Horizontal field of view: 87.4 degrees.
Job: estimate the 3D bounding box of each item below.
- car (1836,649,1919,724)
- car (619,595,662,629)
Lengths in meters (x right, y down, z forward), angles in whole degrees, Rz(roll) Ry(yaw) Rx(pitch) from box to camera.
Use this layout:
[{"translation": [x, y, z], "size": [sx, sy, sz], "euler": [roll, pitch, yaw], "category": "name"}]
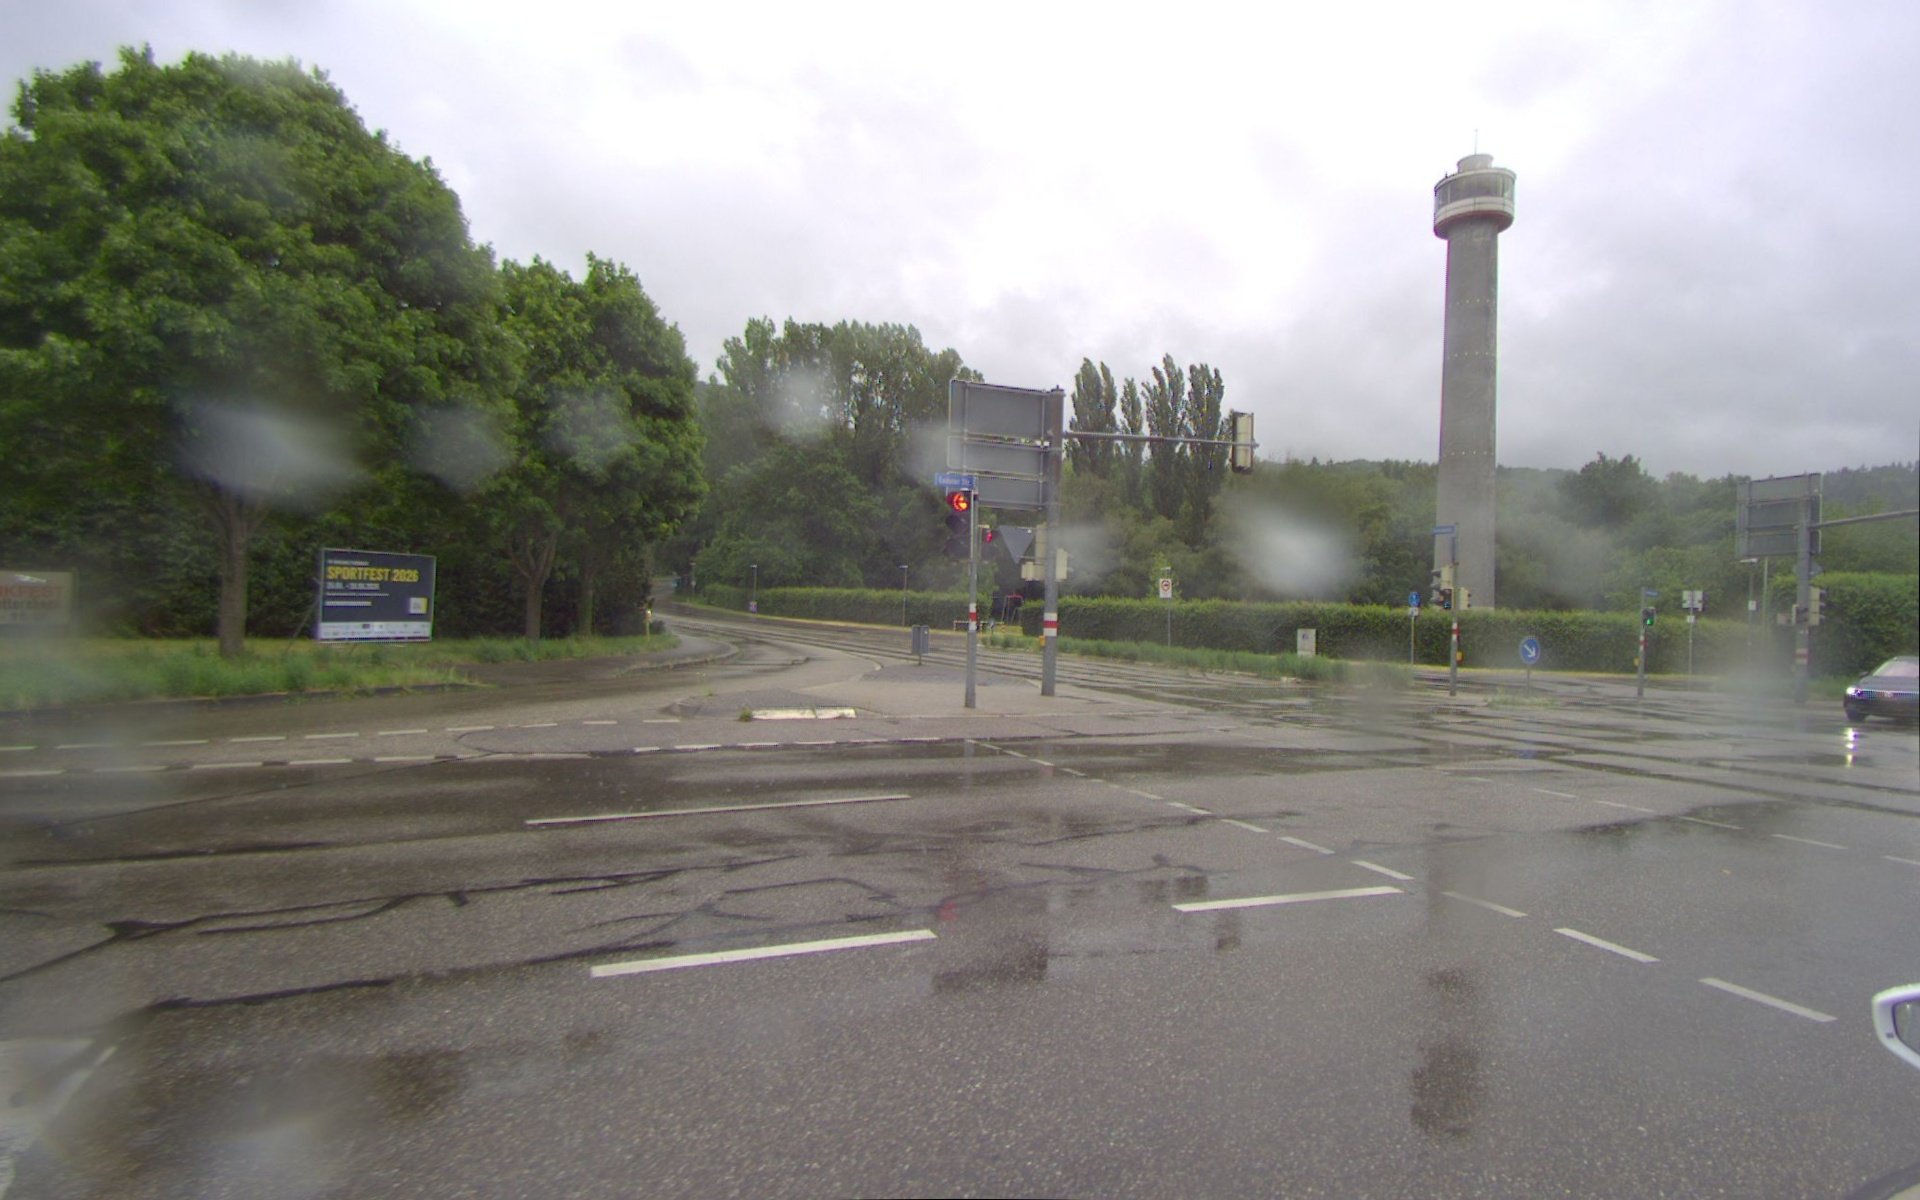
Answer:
[{"translation": [21.422, 1.890, 22.281], "size": [4.402, 1.485, 1.700], "euler": [3, -1, -31], "category": "car"}, {"translation": [-20.701, 0.739, 64.981], "size": [1.793, 2.053, 3.651], "euler": [1, 0, -32], "category": "car"}]
